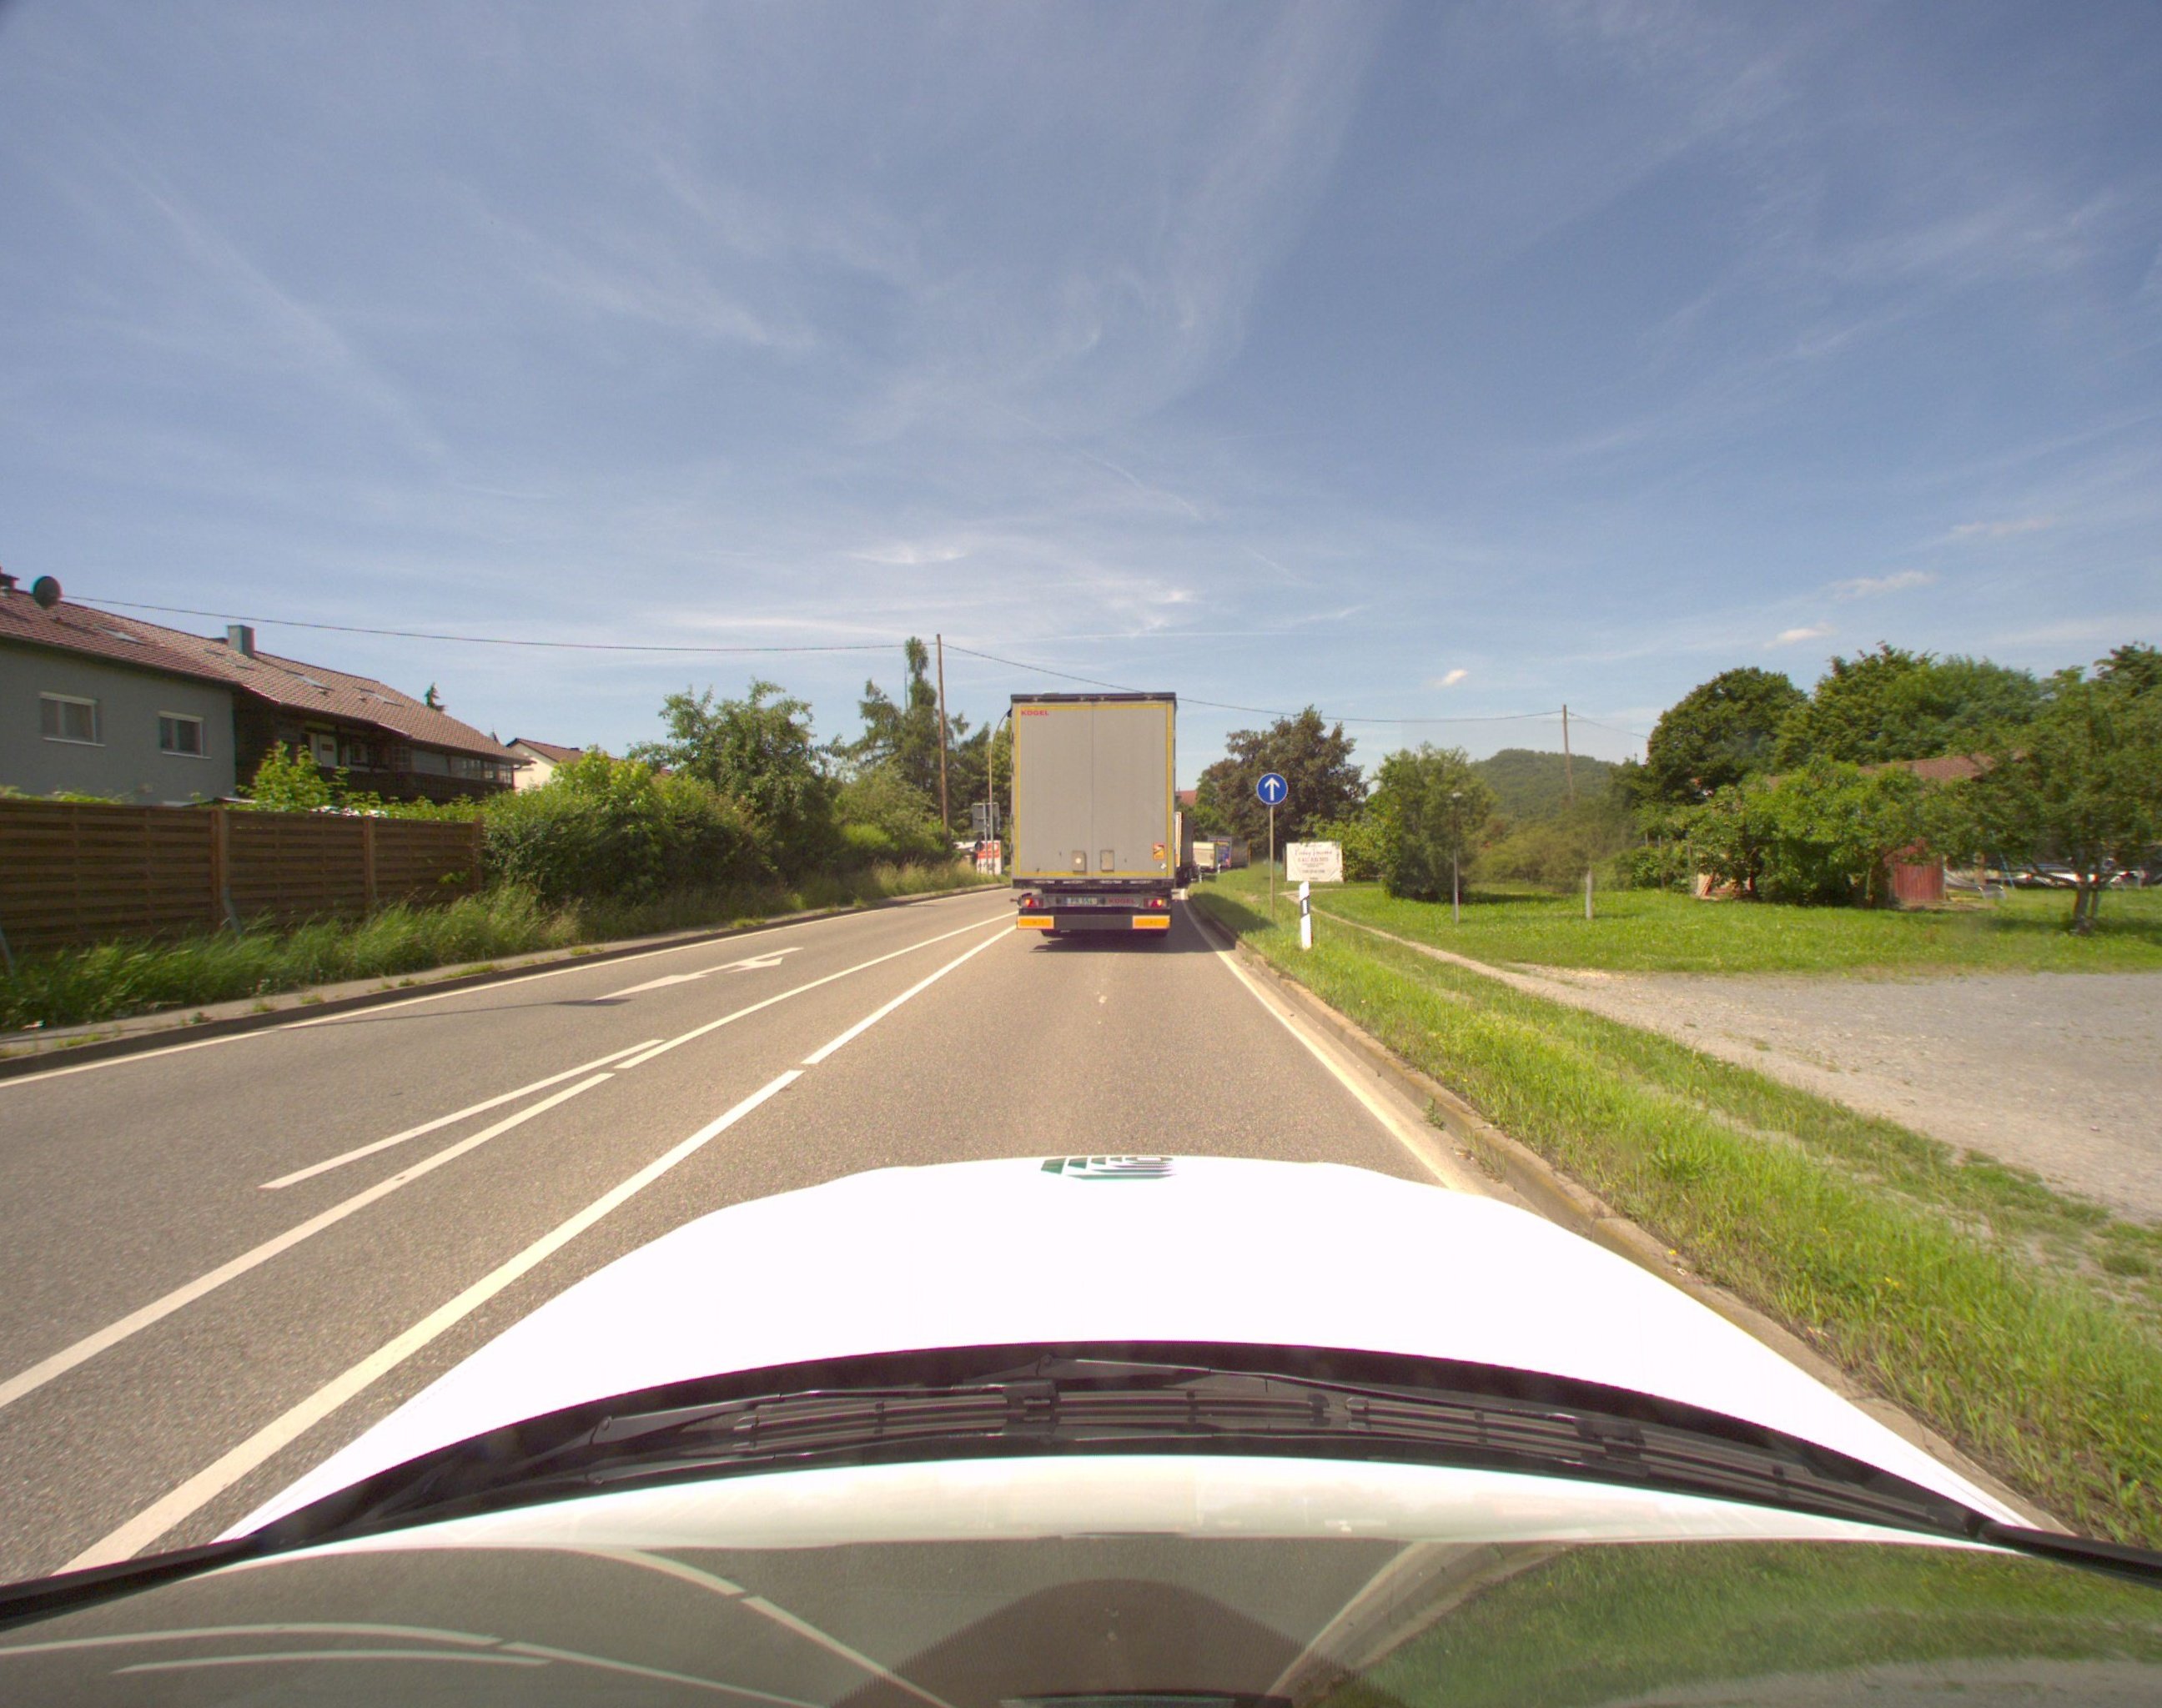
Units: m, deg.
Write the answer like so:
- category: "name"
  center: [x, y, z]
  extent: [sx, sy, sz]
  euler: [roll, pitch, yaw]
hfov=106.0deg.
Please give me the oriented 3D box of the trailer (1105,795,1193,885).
- category: "trailer"
  center: [4.297, -0.680, 47.361]
  extent: [3.867, 4.521, 12.748]
  euler: [-1, 0, 10]

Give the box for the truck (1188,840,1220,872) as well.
- category: "truck"
  center: [11.390, 0.133, 75.330]
  extent: [2.403, 2.838, 5.432]
  euler: [0, 0, 14]

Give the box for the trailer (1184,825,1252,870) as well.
- category: "trailer"
  center: [15.786, -0.740, 92.087]
  extent: [5.138, 4.628, 15.970]
  euler: [0, 0, 18]

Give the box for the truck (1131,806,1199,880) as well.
- category: "truck"
  center: [5.739, -0.660, 54.168]
  extent: [3.913, 4.575, 7.171]
  euler: [-1, 0, 10]

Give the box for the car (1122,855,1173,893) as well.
- category: "car"
  center: [3.007, 0.856, 36.052]
  extent: [1.982, 1.530, 4.009]
  euler: [0, 0, 8]

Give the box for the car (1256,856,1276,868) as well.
- category: "car"
  center: [25.975, 1.113, 114.228]
  extent: [1.975, 1.684, 4.023]
  euler: [-1, 0, 25]

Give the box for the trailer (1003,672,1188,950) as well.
- category: "trailer"
  center: [0.782, -0.680, 18.440]
  extent: [2.773, 4.205, 12.129]
  euler: [-1, 0, 5]

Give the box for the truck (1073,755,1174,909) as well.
- category: "truck"
  center: [1.462, -0.613, 25.358]
  extent: [2.732, 4.165, 6.152]
  euler: [-1, 0, 6]

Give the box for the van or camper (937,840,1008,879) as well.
- category: "van or camper"
  center: [-7.911, 0.386, 59.556]
  extent: [4.838, 2.715, 2.198]
  euler: [-1, 0, 1]

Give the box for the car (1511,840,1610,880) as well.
- category: "car"
  center: [24.873, 0.288, 42.366]
  extent: [3.963, 2.013, 2.005]
  euler: [0, 0, 9]
